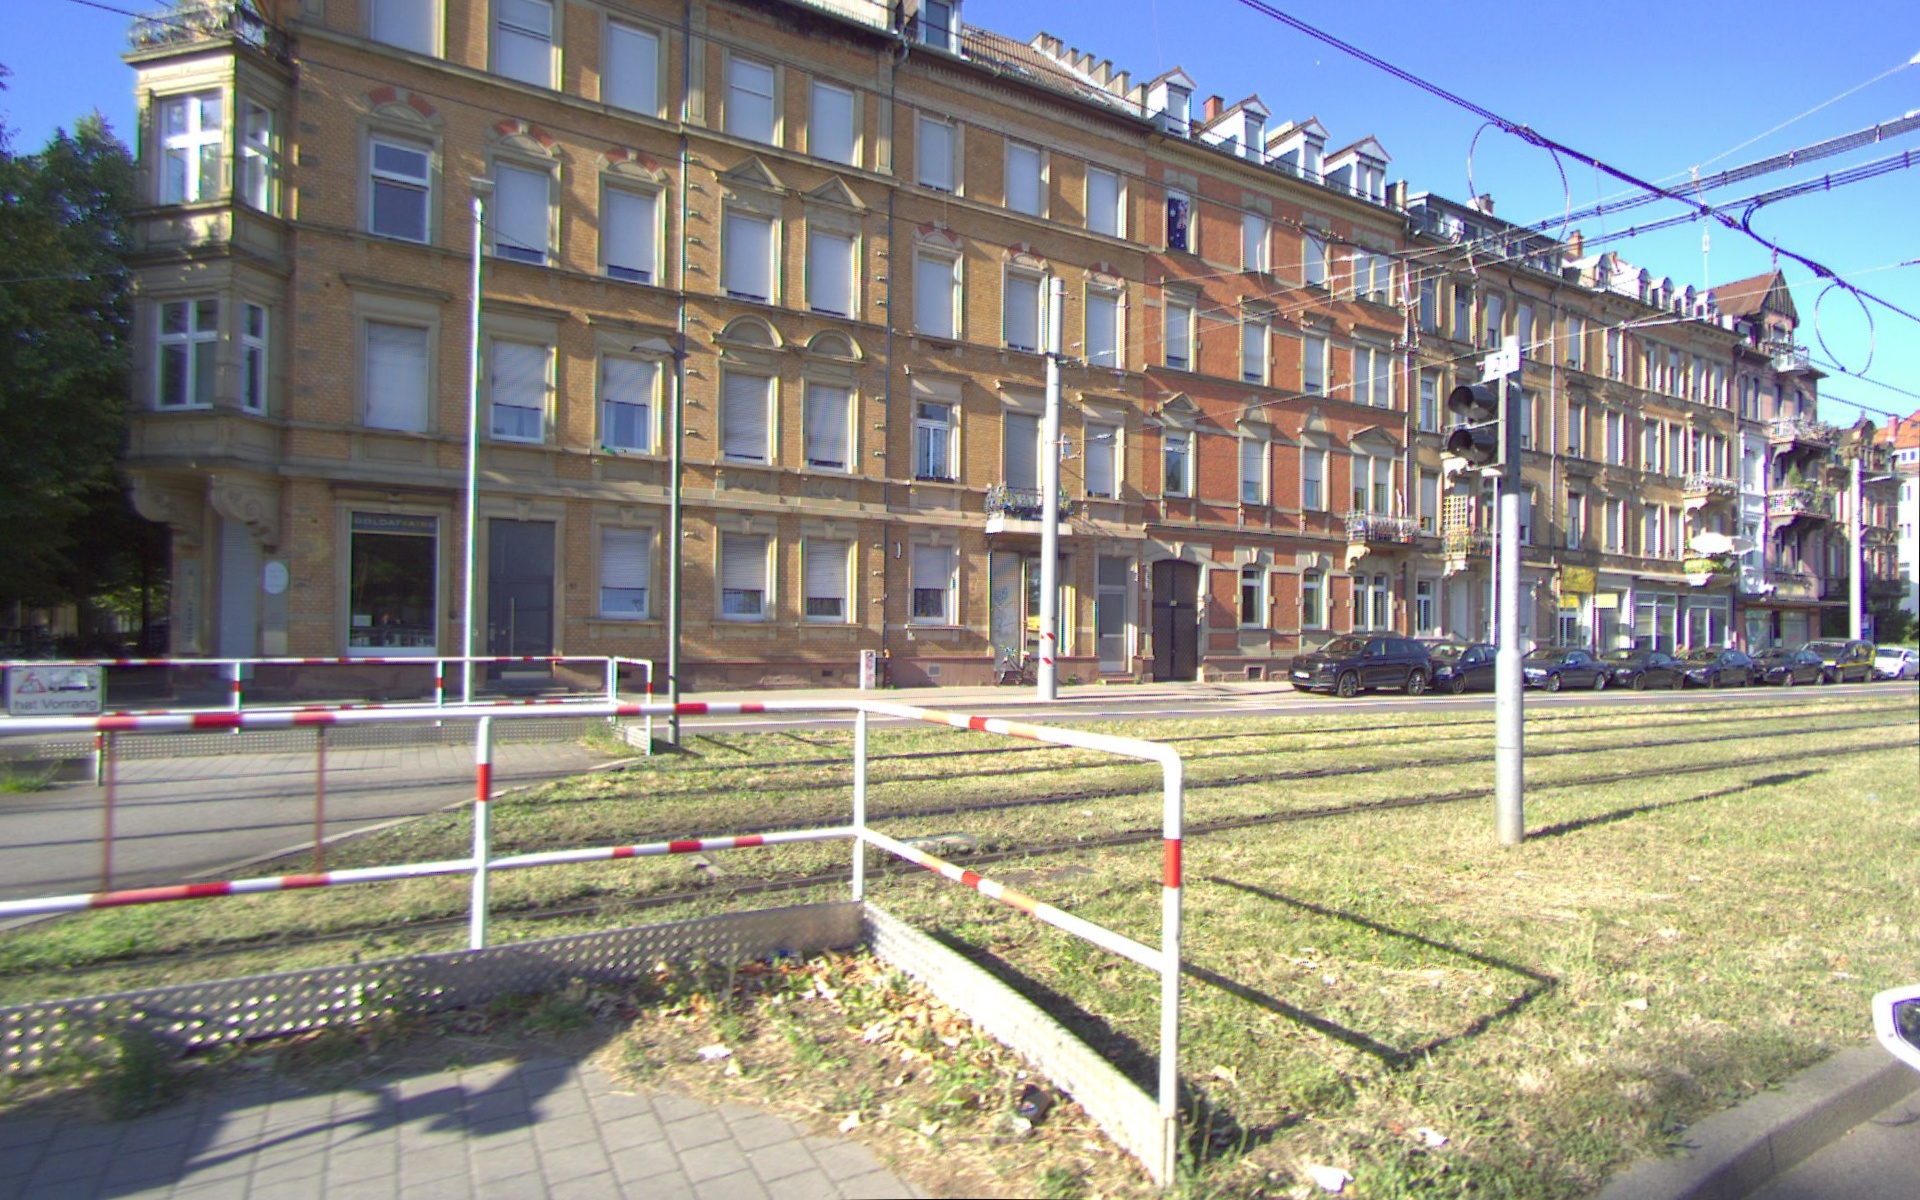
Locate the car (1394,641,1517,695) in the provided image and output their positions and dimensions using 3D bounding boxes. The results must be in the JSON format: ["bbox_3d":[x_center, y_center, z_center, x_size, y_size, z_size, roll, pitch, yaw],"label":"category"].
[{"bbox_3d":[15.237,2.063,30.865,3.490,1.486,1.767,2,0,-30],"label":"car"}]

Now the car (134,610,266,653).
[{"bbox_3d":[-37.394,1.567,49.609,4.956,1.943,2.049,2,0,-33],"label":"car"}]

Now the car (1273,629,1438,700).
[{"bbox_3d":[11.273,1.776,28.569,4.504,1.777,2.005,1,1,-30],"label":"car"}]

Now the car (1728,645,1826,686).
[{"bbox_3d":[32.800,2.604,40.301,3.932,1.425,1.768,1,1,-30],"label":"car"}]

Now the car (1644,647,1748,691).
[{"bbox_3d":[27.656,2.543,37.743,3.863,1.425,1.768,1,1,-30],"label":"car"}]

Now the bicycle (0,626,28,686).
[{"bbox_3d":[-20.450,1.131,20.307,2.215,1.194,0.781,2,0,-32],"label":"bicycle"}]

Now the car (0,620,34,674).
[{"bbox_3d":[-29.941,1.388,30.418,1.978,1.491,4.156,2,-1,-32],"label":"car"}]

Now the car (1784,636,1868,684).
[{"bbox_3d":[37.438,2.556,43.397,3.854,1.879,1.554,1,1,-30],"label":"car"}]

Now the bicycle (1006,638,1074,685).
[{"bbox_3d":[2.189,1.672,27.364,1.730,1.196,0.696,2,0,-30],"label":"bicycle"}]

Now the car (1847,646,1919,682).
[{"bbox_3d":[43.223,2.952,46.973,3.622,1.477,1.554,1,1,-30],"label":"car"}]

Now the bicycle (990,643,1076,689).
[{"bbox_3d":[1.990,1.759,27.108,2.317,1.167,0.694,2,0,-32],"label":"bicycle"}]

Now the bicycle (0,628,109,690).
[{"bbox_3d":[-18.829,1.184,20.388,2.213,1.194,0.782,2,0,-29],"label":"bicycle"}]

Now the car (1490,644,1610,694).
[{"bbox_3d":[19.532,2.251,33.226,3.863,1.425,1.768,1,1,-30],"label":"car"}]

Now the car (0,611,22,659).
[{"bbox_3d":[-41.782,1.407,40.939,2.037,1.943,4.985,2,0,41],"label":"car"}]

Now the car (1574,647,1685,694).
[{"bbox_3d":[23.736,2.450,35.606,3.863,1.425,1.768,1,1,-30],"label":"car"}]
